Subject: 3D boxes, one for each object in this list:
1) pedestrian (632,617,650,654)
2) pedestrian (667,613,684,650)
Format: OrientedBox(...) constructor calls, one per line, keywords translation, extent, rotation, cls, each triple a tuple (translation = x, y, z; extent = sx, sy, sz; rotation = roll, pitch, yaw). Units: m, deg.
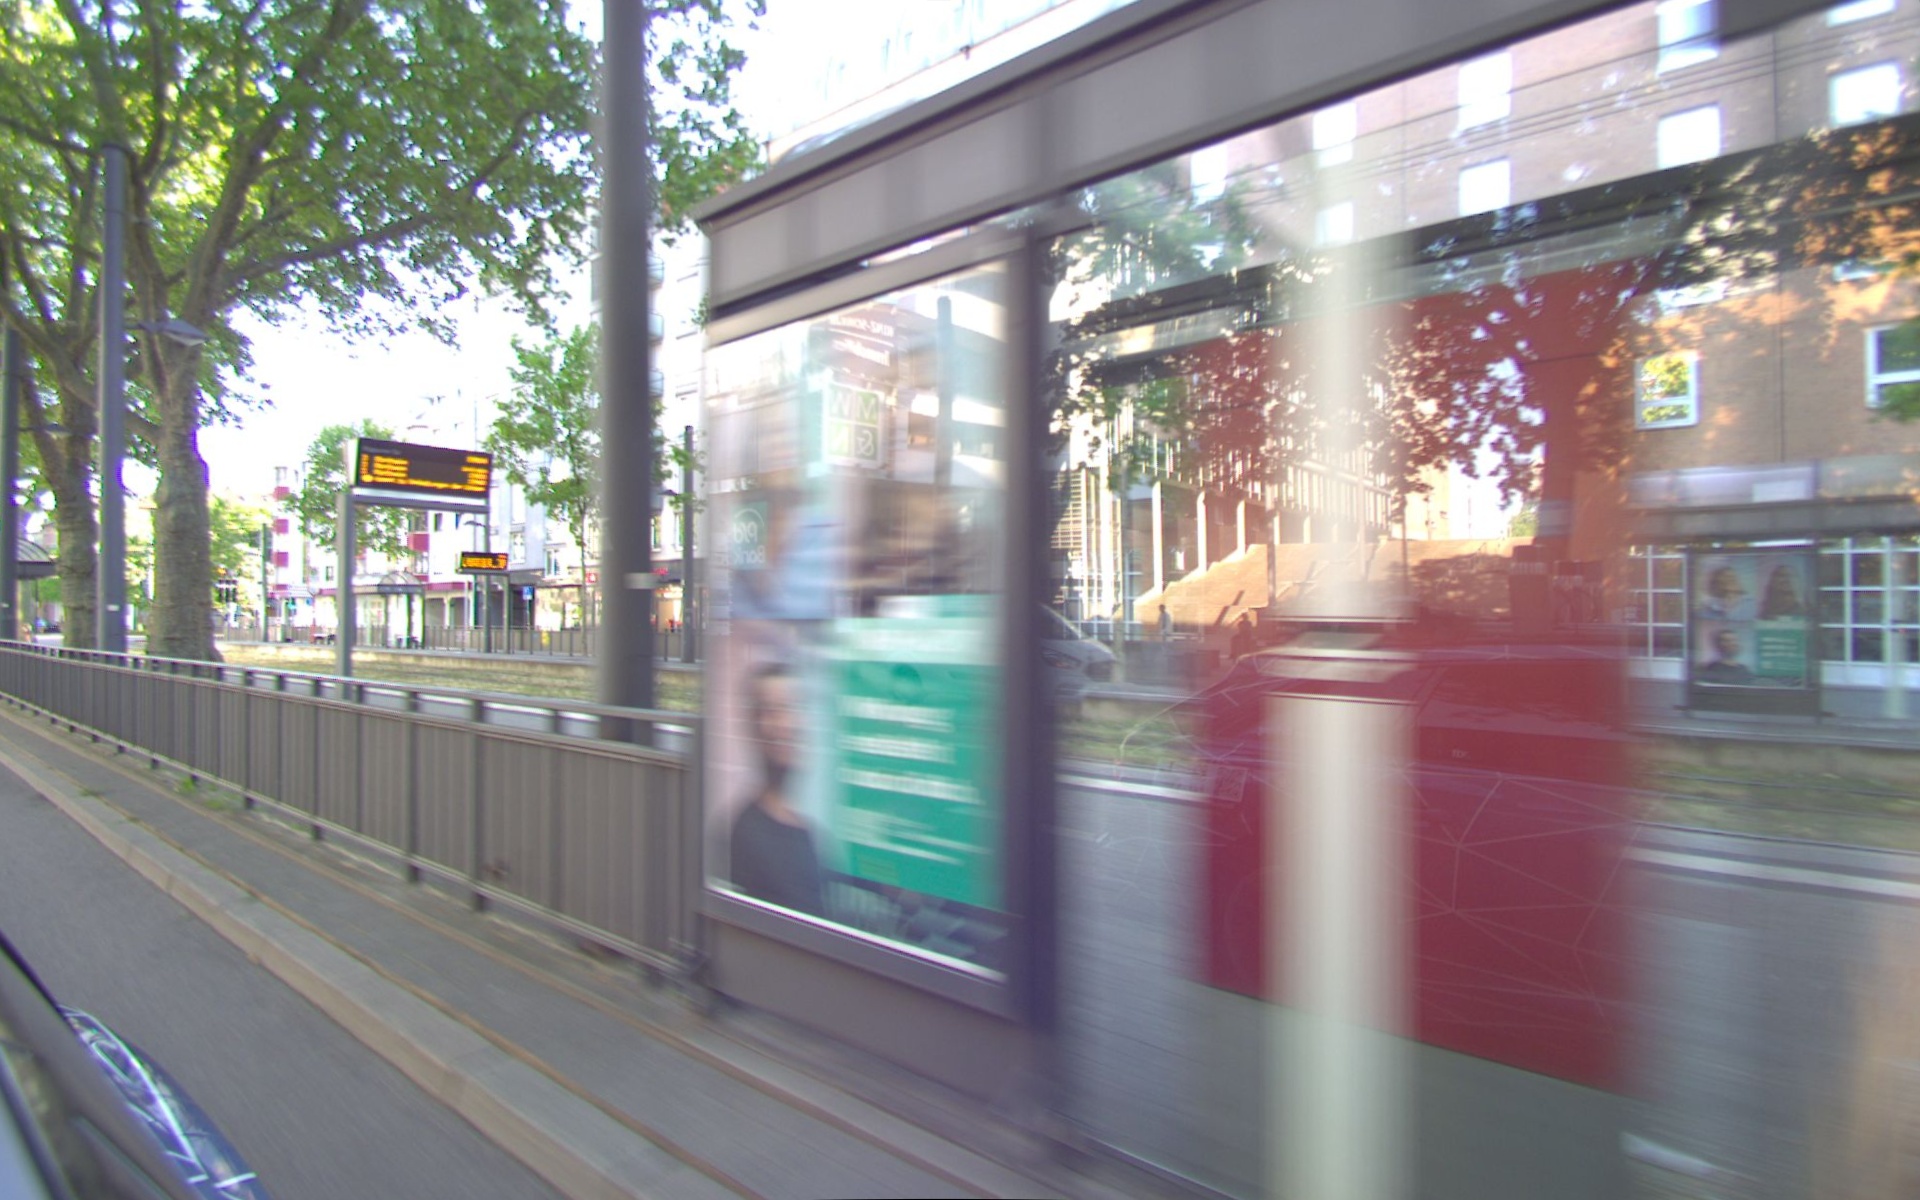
OrientedBox(translation=(-15.577, 1.725, 49.420), extent=(0.784, 1.784, 0.497), rotation=(-1, 0, 41), cls="pedestrian")
OrientedBox(translation=(-13.980, 1.550, 49.757), extent=(0.628, 1.784, 0.497), rotation=(-1, 0, 41), cls="pedestrian")
